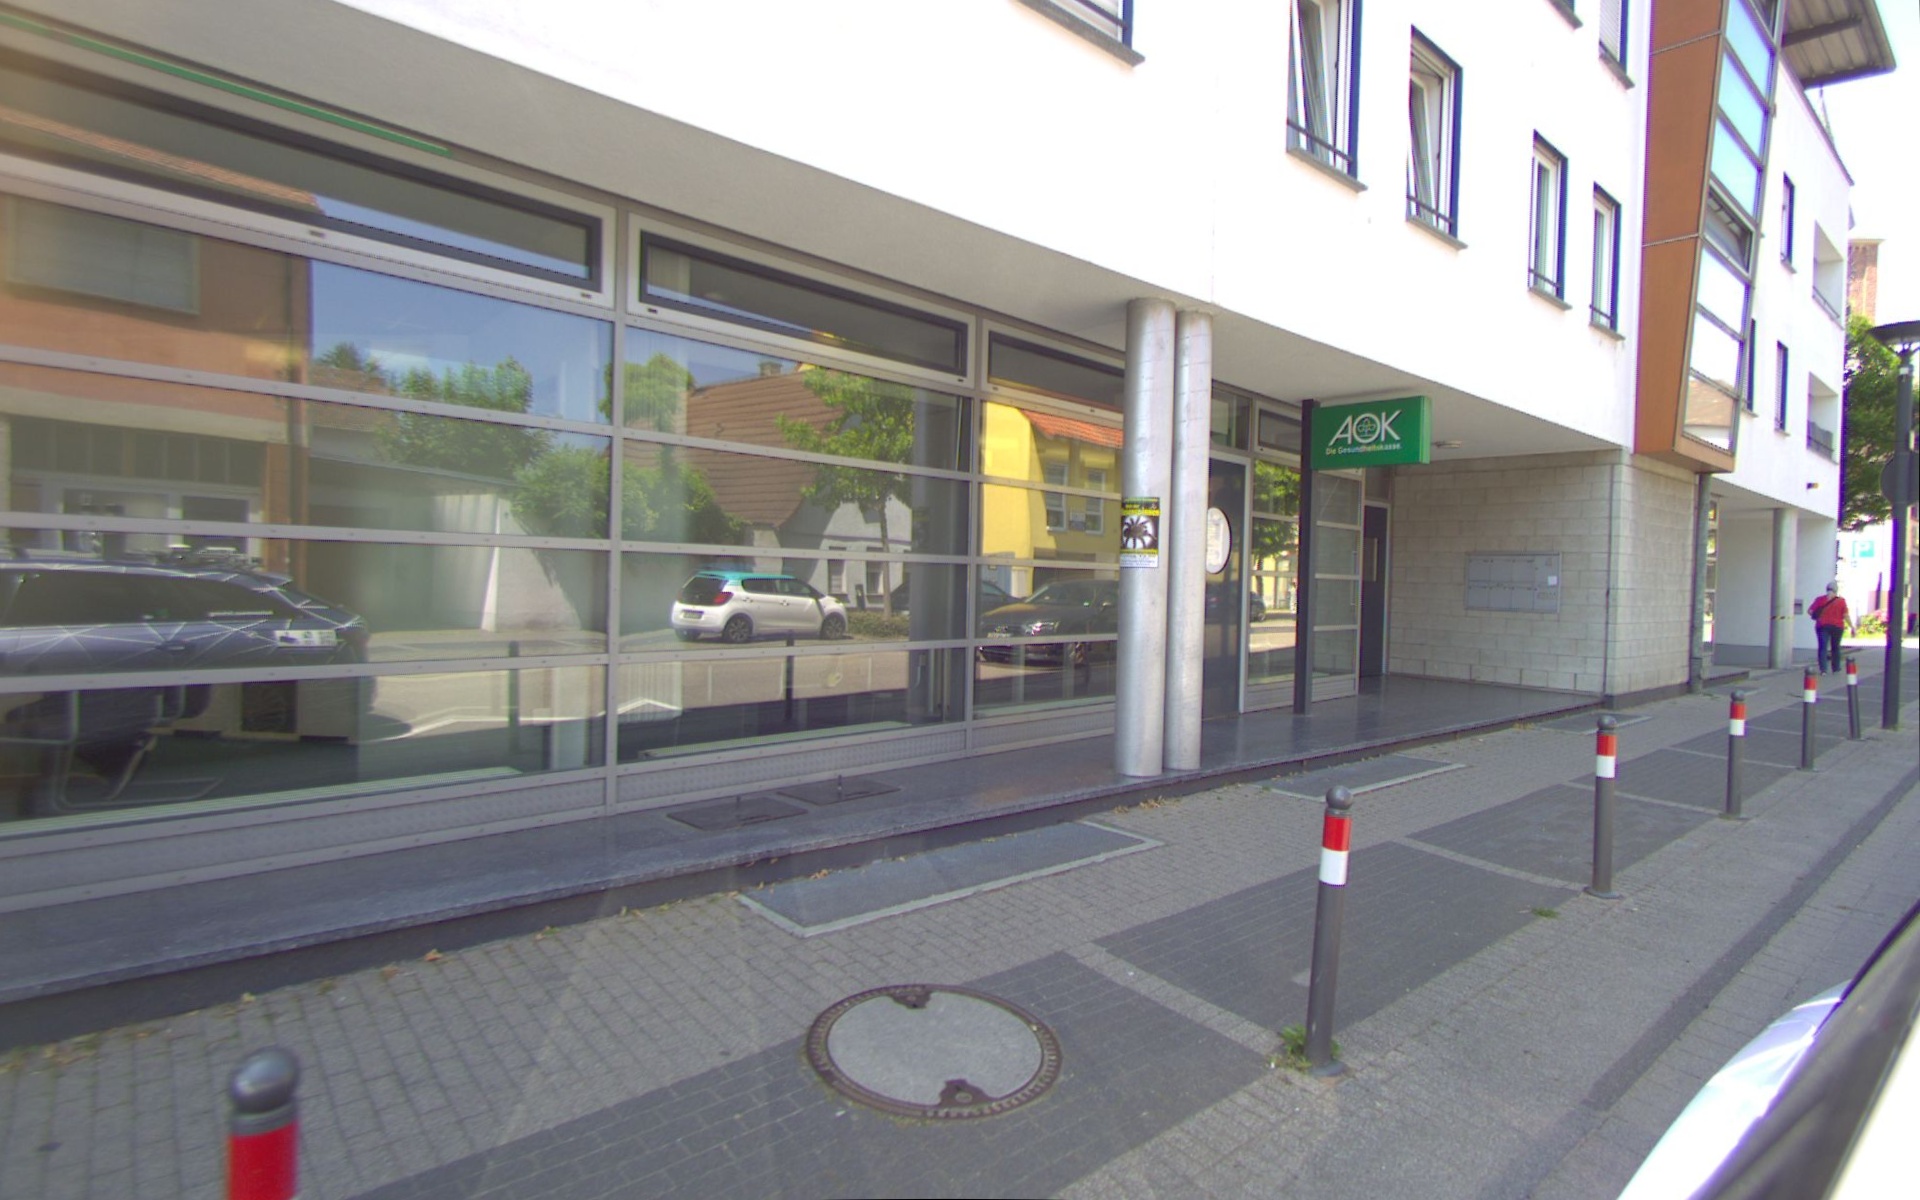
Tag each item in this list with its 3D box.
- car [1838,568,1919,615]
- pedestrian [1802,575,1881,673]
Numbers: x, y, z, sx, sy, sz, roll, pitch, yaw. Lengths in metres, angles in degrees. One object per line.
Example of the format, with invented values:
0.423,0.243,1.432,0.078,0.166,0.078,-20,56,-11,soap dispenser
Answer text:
40.009,-0.368,42.712,1.965,1.882,4.201,0,3,-41,car
15.471,0.398,17.768,0.903,1.607,0.826,0,4,-41,pedestrian
